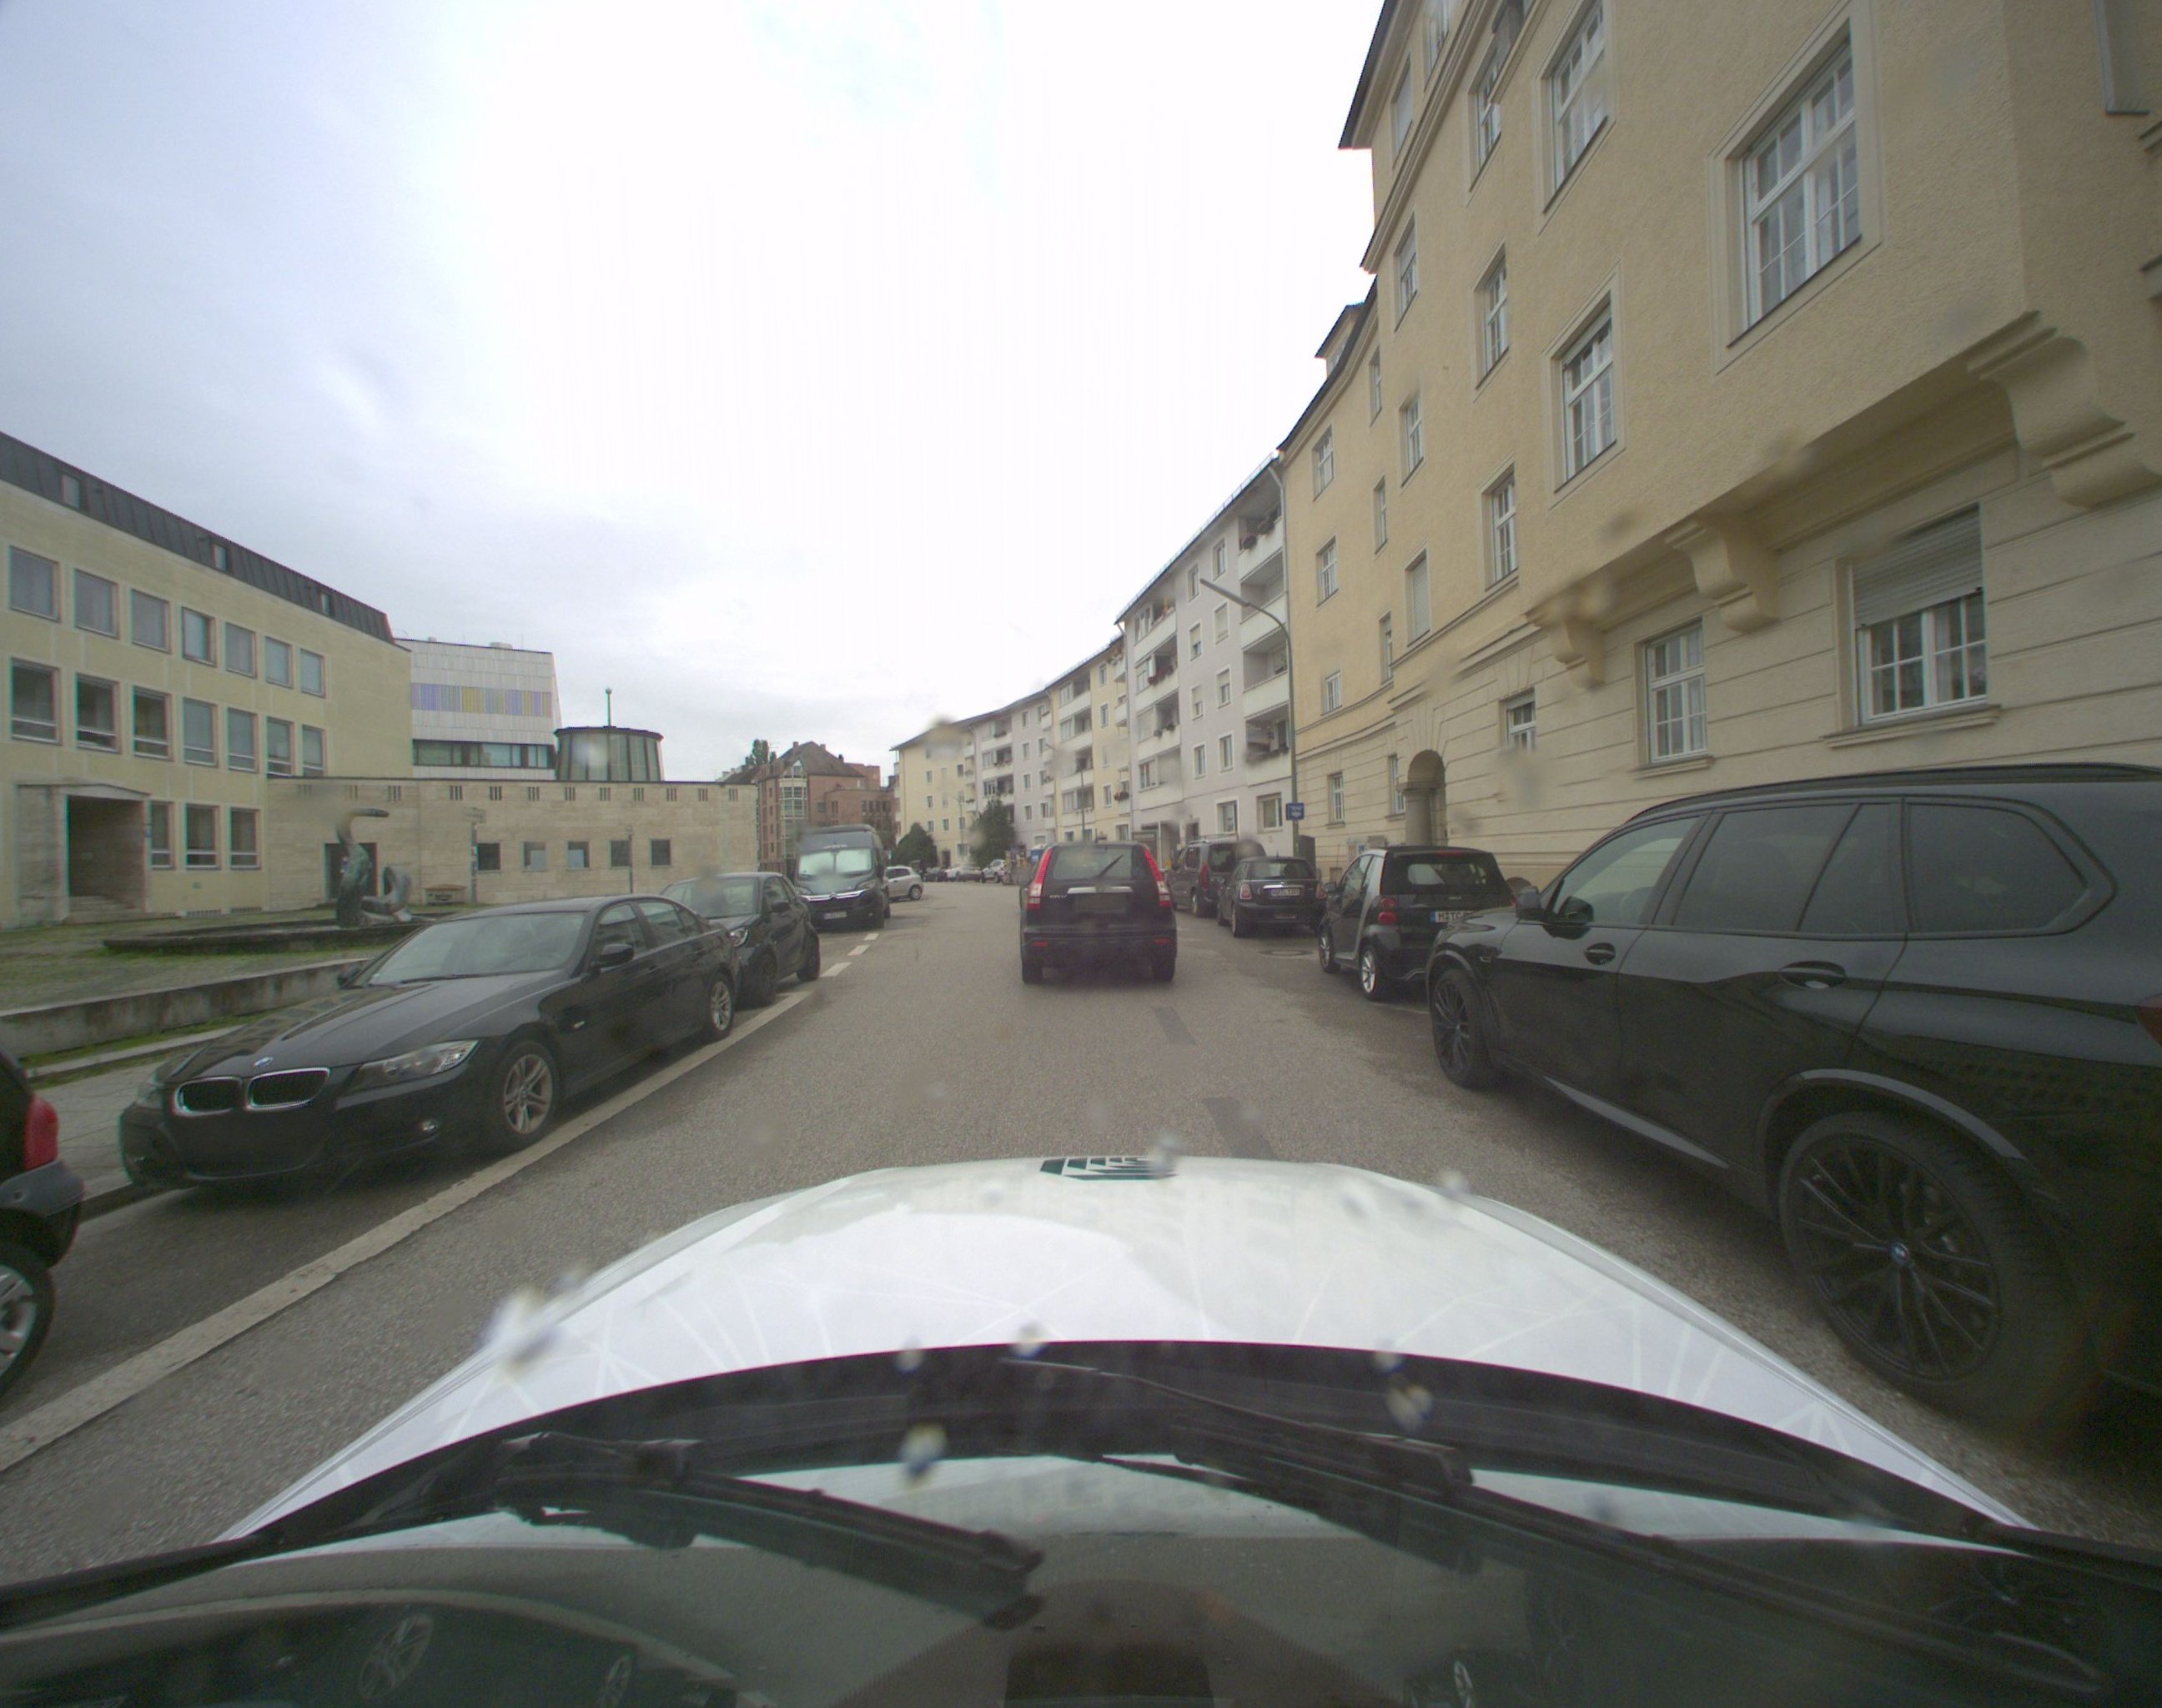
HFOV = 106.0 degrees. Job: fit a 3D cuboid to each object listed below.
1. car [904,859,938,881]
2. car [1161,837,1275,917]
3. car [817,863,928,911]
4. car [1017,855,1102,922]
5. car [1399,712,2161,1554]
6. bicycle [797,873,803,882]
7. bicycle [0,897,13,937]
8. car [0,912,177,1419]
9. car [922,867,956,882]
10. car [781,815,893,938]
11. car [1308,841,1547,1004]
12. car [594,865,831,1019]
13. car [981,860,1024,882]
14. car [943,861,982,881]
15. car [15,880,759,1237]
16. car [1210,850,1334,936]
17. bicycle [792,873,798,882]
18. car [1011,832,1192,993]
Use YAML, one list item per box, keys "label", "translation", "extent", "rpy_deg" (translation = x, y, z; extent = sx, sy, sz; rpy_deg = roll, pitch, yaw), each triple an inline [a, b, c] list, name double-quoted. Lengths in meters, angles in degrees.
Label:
- label: "car"
  translation: [-14.696, 1.457, 74.506]
  extent: [1.736, 1.878, 3.960]
  rpy_deg: [-1, 0, -32]
- label: "car"
  translation: [3.341, 0.529, 20.722]
  extent: [1.775, 1.807, 4.266]
  rpy_deg: [0, 0, -6]
- label: "car"
  translation: [-8.518, 1.329, 33.537]
  extent: [1.663, 1.481, 4.113]
  rpy_deg: [-7, -1, 41]
- label: "car"
  translation: [-0.641, 0.817, 20.772]
  extent: [1.678, 1.481, 4.075]
  rpy_deg: [-2, 0, -8]
- label: "car"
  translation: [3.215, 0.573, 3.632]
  extent: [1.861, 1.717, 4.868]
  rpy_deg: [-1, 0, 2]
- label: "bicycle"
  translation: [-41.872, 3.442, 121.255]
  extent: [0.554, 1.288, 1.744]
  rpy_deg: [-1, -1, -28]
- label: "bicycle"
  translation: [-28.636, 1.661, 20.586]
  extent: [1.953, 1.014, 0.621]
  rpy_deg: [-2, 0, -20]
- label: "car"
  translation: [-4.014, 0.976, 1.175]
  extent: [1.652, 1.453, 3.311]
  rpy_deg: [-4, 0, -1]
- label: "car"
  translation: [-12.333, 1.746, 70.637]
  extent: [1.709, 1.236, 3.565]
  rpy_deg: [-1, 0, -32]
- label: "car"
  translation: [-6.143, 0.509, 21.227]
  extent: [2.166, 2.641, 5.992]
  rpy_deg: [-3, 0, -12]
- label: "car"
  translation: [3.681, 0.654, 9.210]
  extent: [1.528, 1.524, 3.113]
  rpy_deg: [-1, 0, 3]
- label: "car"
  translation: [-4.377, 0.949, 10.175]
  extent: [1.667, 1.502, 2.973]
  rpy_deg: [-4, 0, -4]
- label: "car"
  translation: [-5.554, 1.159, 57.510]
  extent: [1.733, 1.483, 3.966]
  rpy_deg: [-1, 0, -26]
- label: "car"
  translation: [-9.690, 1.376, 66.504]
  extent: [1.736, 1.483, 3.960]
  rpy_deg: [-1, 0, -32]
- label: "car"
  translation: [-4.085, 1.005, 6.018]
  extent: [1.795, 1.406, 4.449]
  rpy_deg: [-4, 0, -4]
- label: "car"
  translation: [3.551, 0.678, 15.803]
  extent: [1.701, 1.447, 3.833]
  rpy_deg: [-1, 0, 3]
- label: "bicycle"
  translation: [-42.456, 3.508, 120.775]
  extent: [0.554, 1.288, 1.744]
  rpy_deg: [-1, -1, -28]
- label: "car"
  translation: [0.164, 0.636, 10.702]
  extent: [1.886, 1.647, 3.988]
  rpy_deg: [-2, 0, -2]
